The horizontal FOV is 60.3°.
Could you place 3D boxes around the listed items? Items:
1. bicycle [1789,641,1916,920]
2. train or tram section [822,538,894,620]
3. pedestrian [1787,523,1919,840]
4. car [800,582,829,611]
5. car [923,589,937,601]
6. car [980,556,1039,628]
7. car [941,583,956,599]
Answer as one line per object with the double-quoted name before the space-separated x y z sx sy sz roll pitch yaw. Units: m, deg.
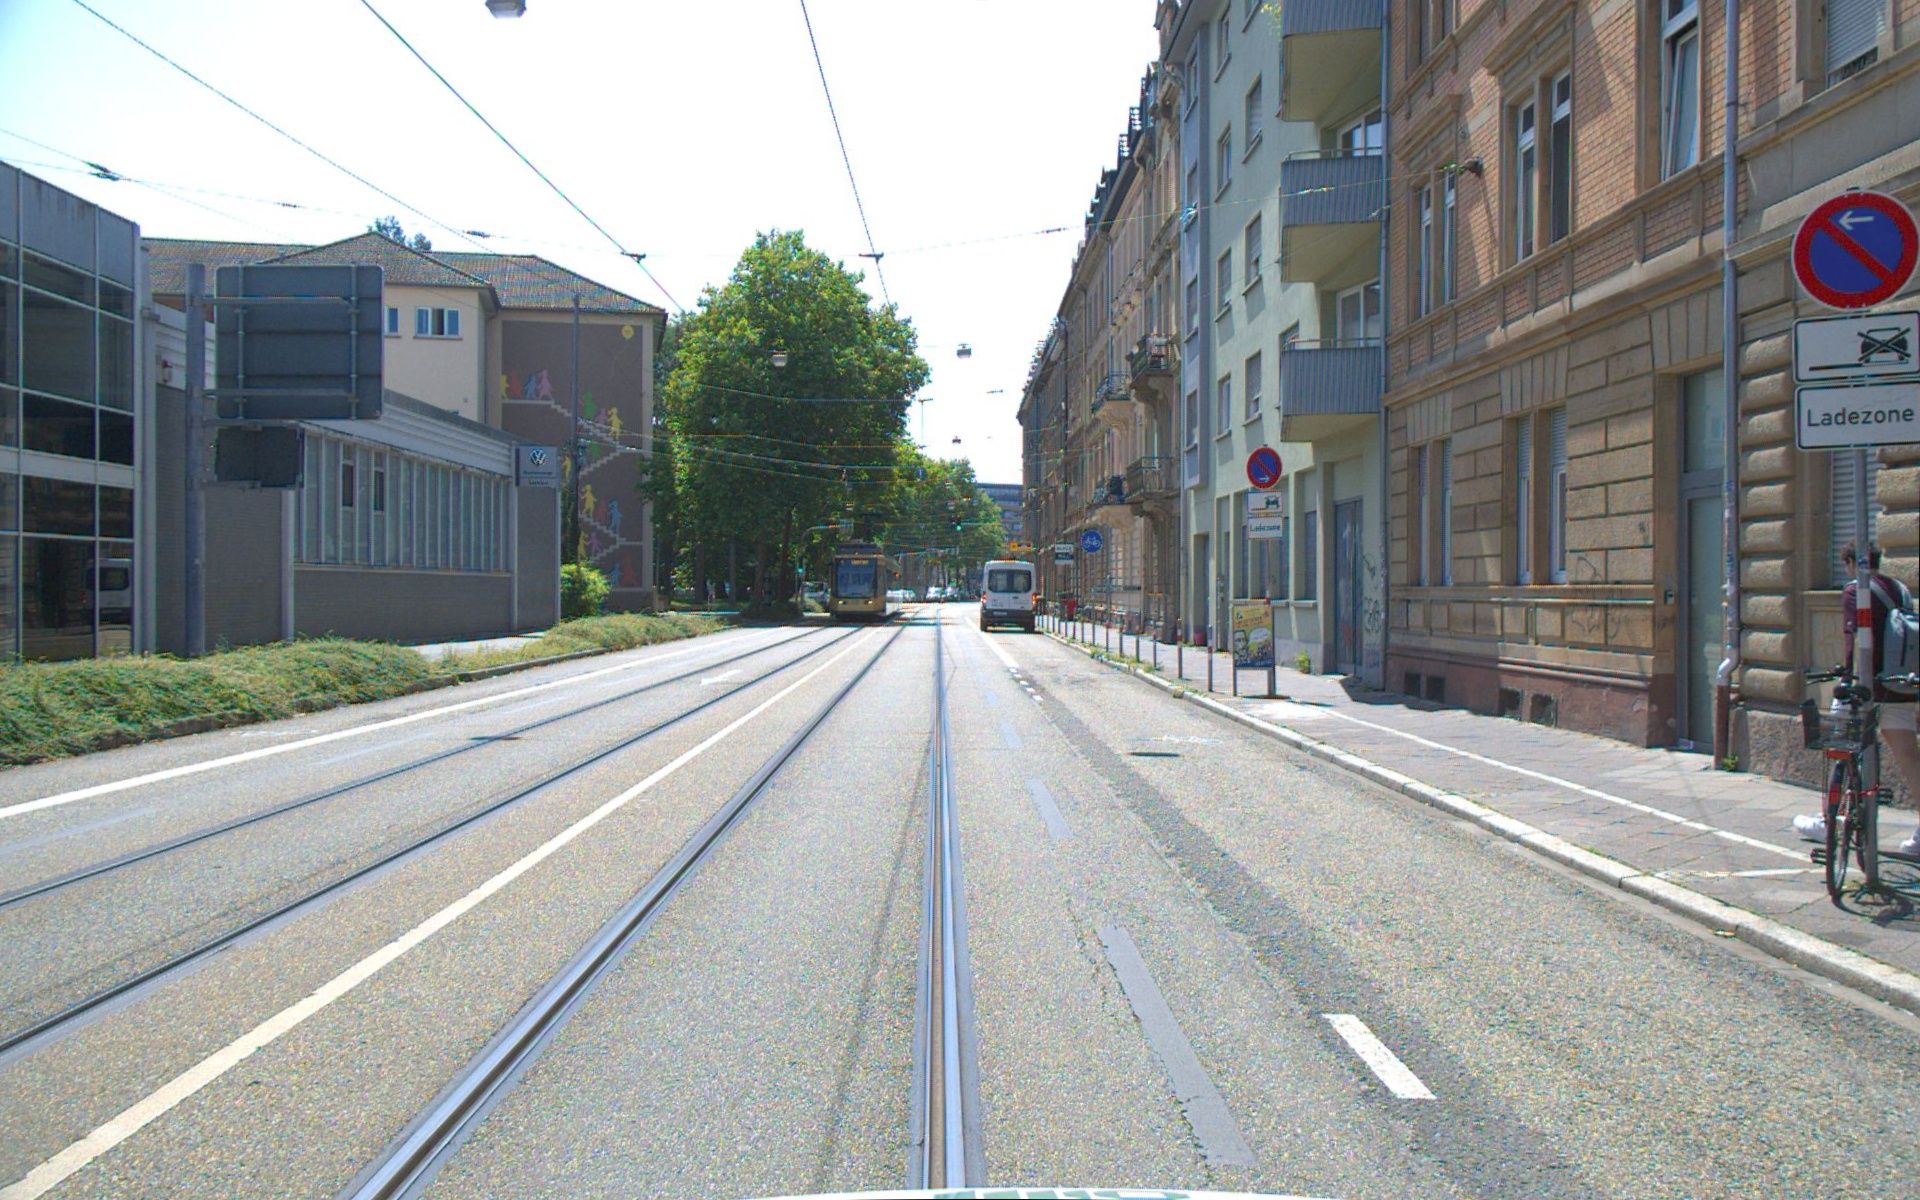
"bicycle" 4.510 0.823 8.412 0.489 1.150 2.240 -1 0 27
"train or tram section" -4.797 -0.995 80.193 2.900 3.643 13.420 0 0 -1
"pedestrian" 5.252 0.447 9.460 0.705 1.750 0.643 -1 0 0
"car" -9.833 -0.239 111.833 1.764 1.956 3.998 1 0 -3
"car" -3.493 -0.569 190.564 1.497 1.433 3.488 1 0 -3
"car" 1.803 -0.291 61.933 2.025 2.544 5.454 1 0 0
"car" -1.372 -1.037 197.778 1.640 1.892 3.997 1 0 -3
